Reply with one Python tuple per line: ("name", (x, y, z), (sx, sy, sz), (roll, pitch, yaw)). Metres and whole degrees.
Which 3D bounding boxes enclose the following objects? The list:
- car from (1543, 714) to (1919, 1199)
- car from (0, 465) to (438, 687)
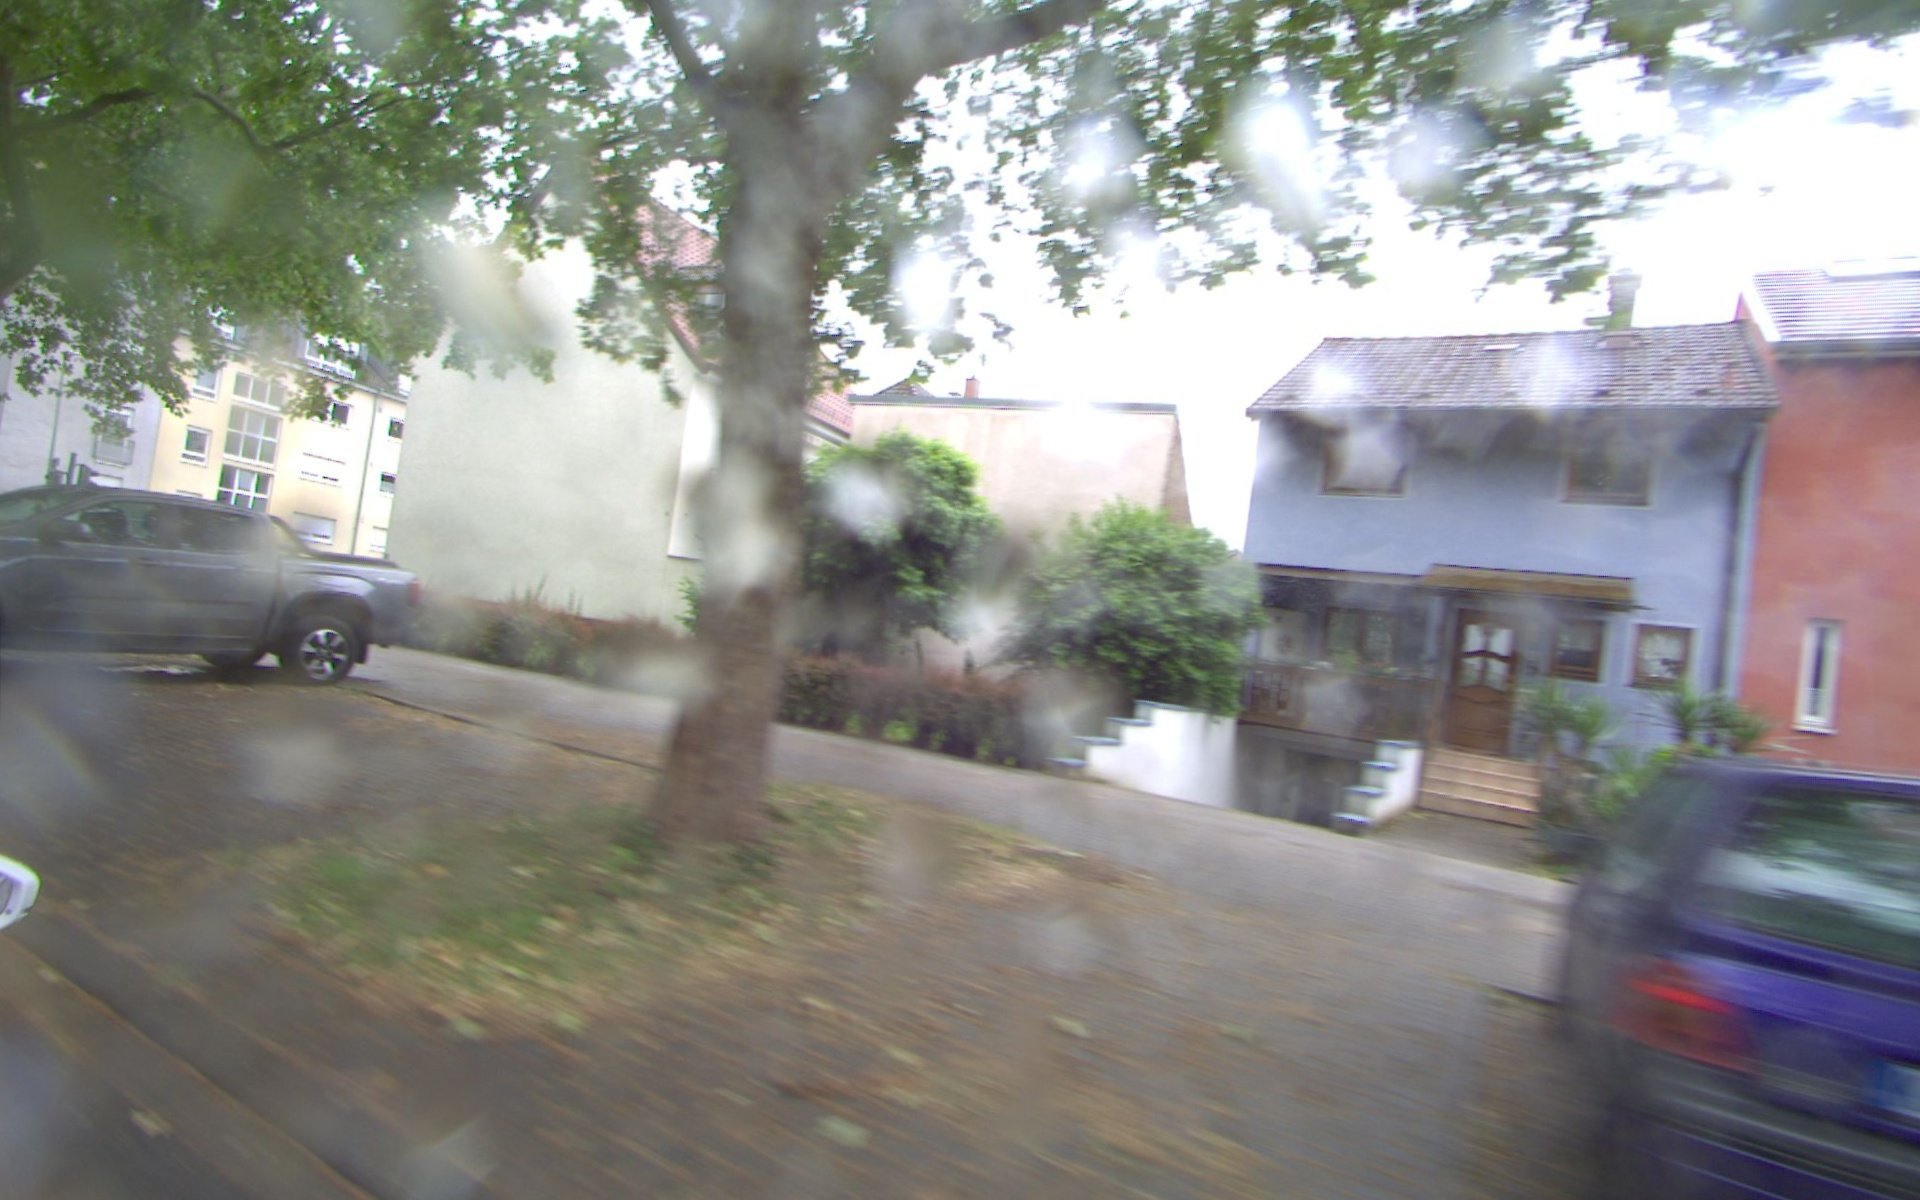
("car", (3.018, 1.264, 3.438), (1.591, 1.480, 3.364), (7, -2, 30))
("car", (-8.221, -0.183, 9.899), (1.812, 1.828, 5.355), (7, -2, 25))
